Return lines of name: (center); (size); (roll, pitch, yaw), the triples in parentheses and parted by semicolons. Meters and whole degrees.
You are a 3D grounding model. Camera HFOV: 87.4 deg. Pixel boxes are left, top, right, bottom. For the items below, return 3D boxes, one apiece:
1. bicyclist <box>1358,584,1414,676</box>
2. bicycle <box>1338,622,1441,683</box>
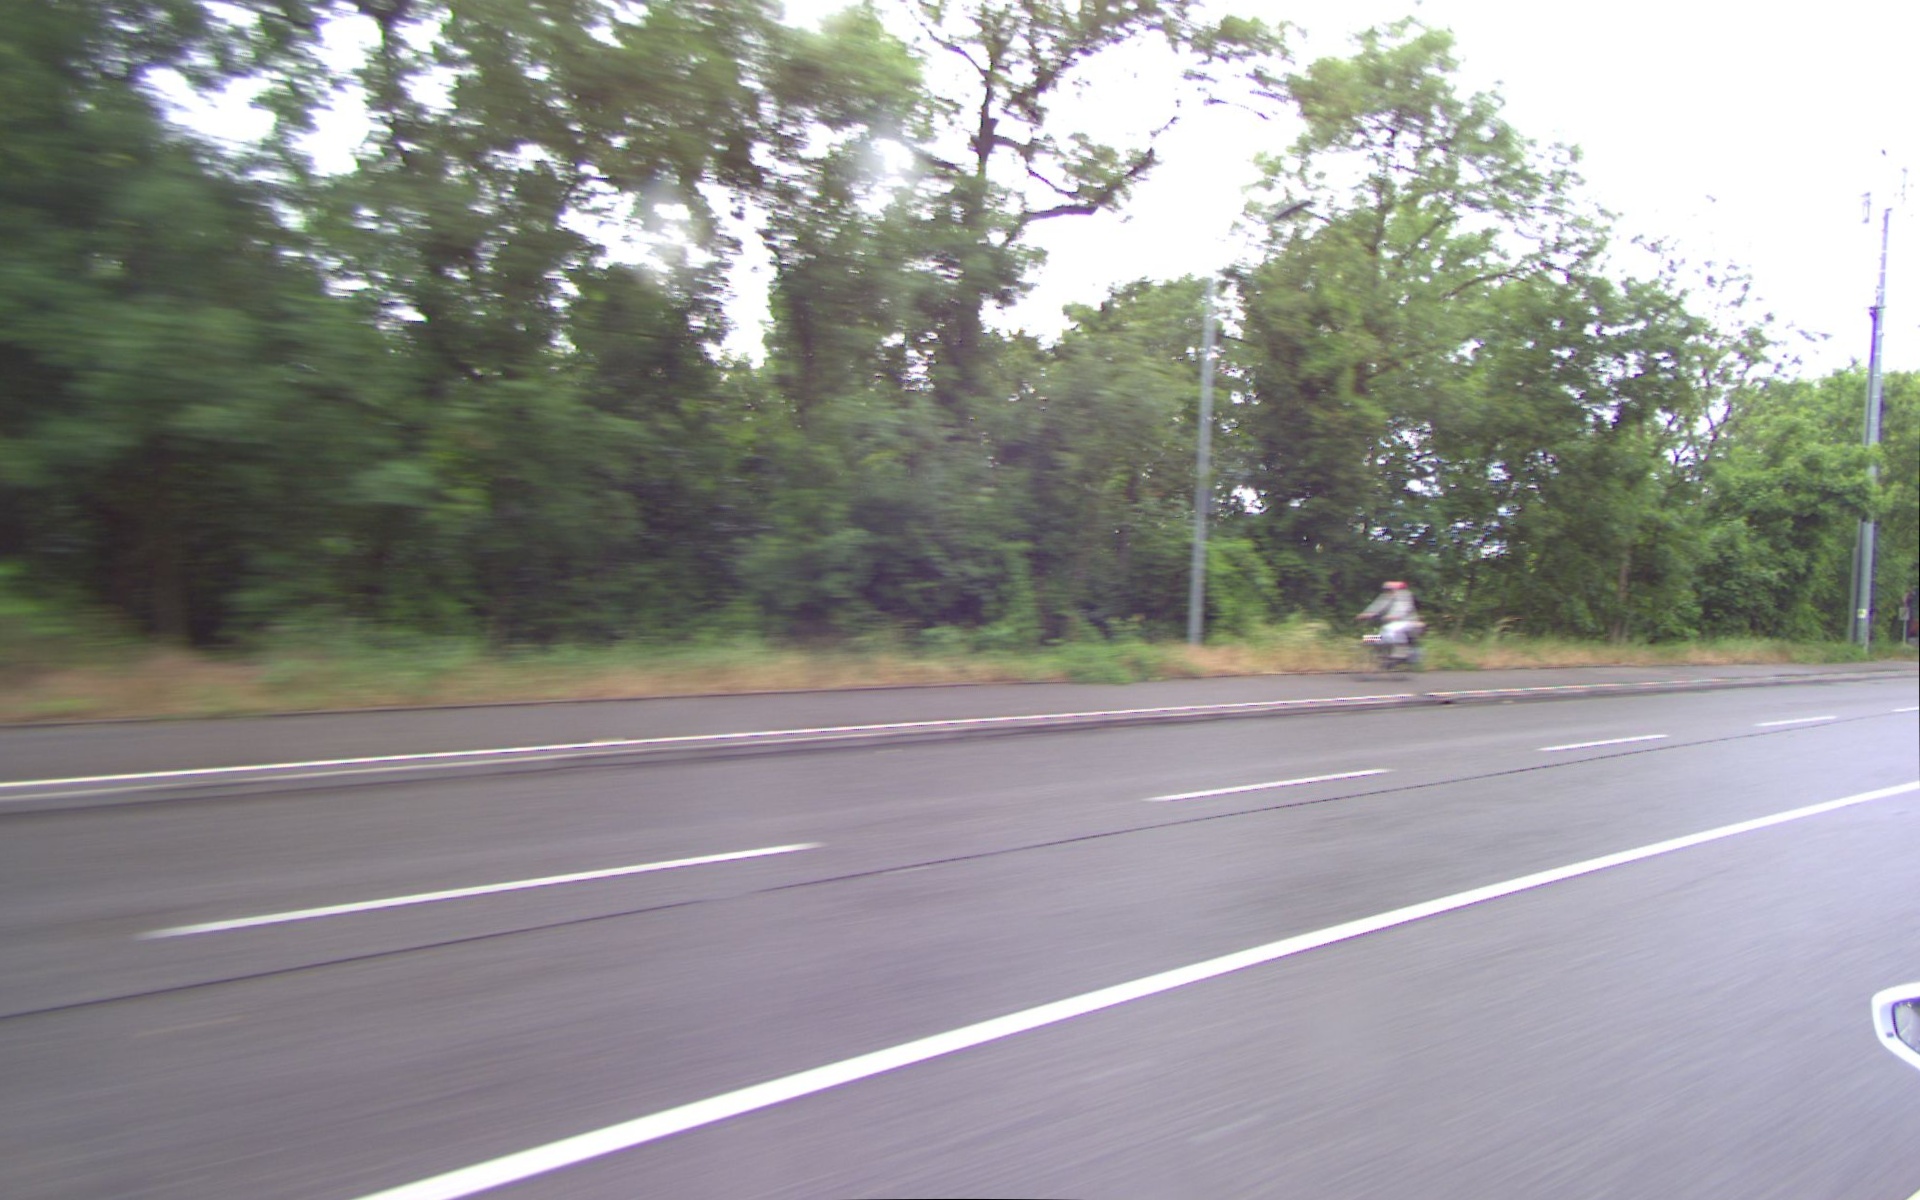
bicyclist: (7.619, 0.535, 17.966); (0.690, 1.607, 0.577); (2, 0, -24)
bicycle: (7.729, 0.934, 18.046); (1.990, 1.017, 0.451); (1, 3, -25)
